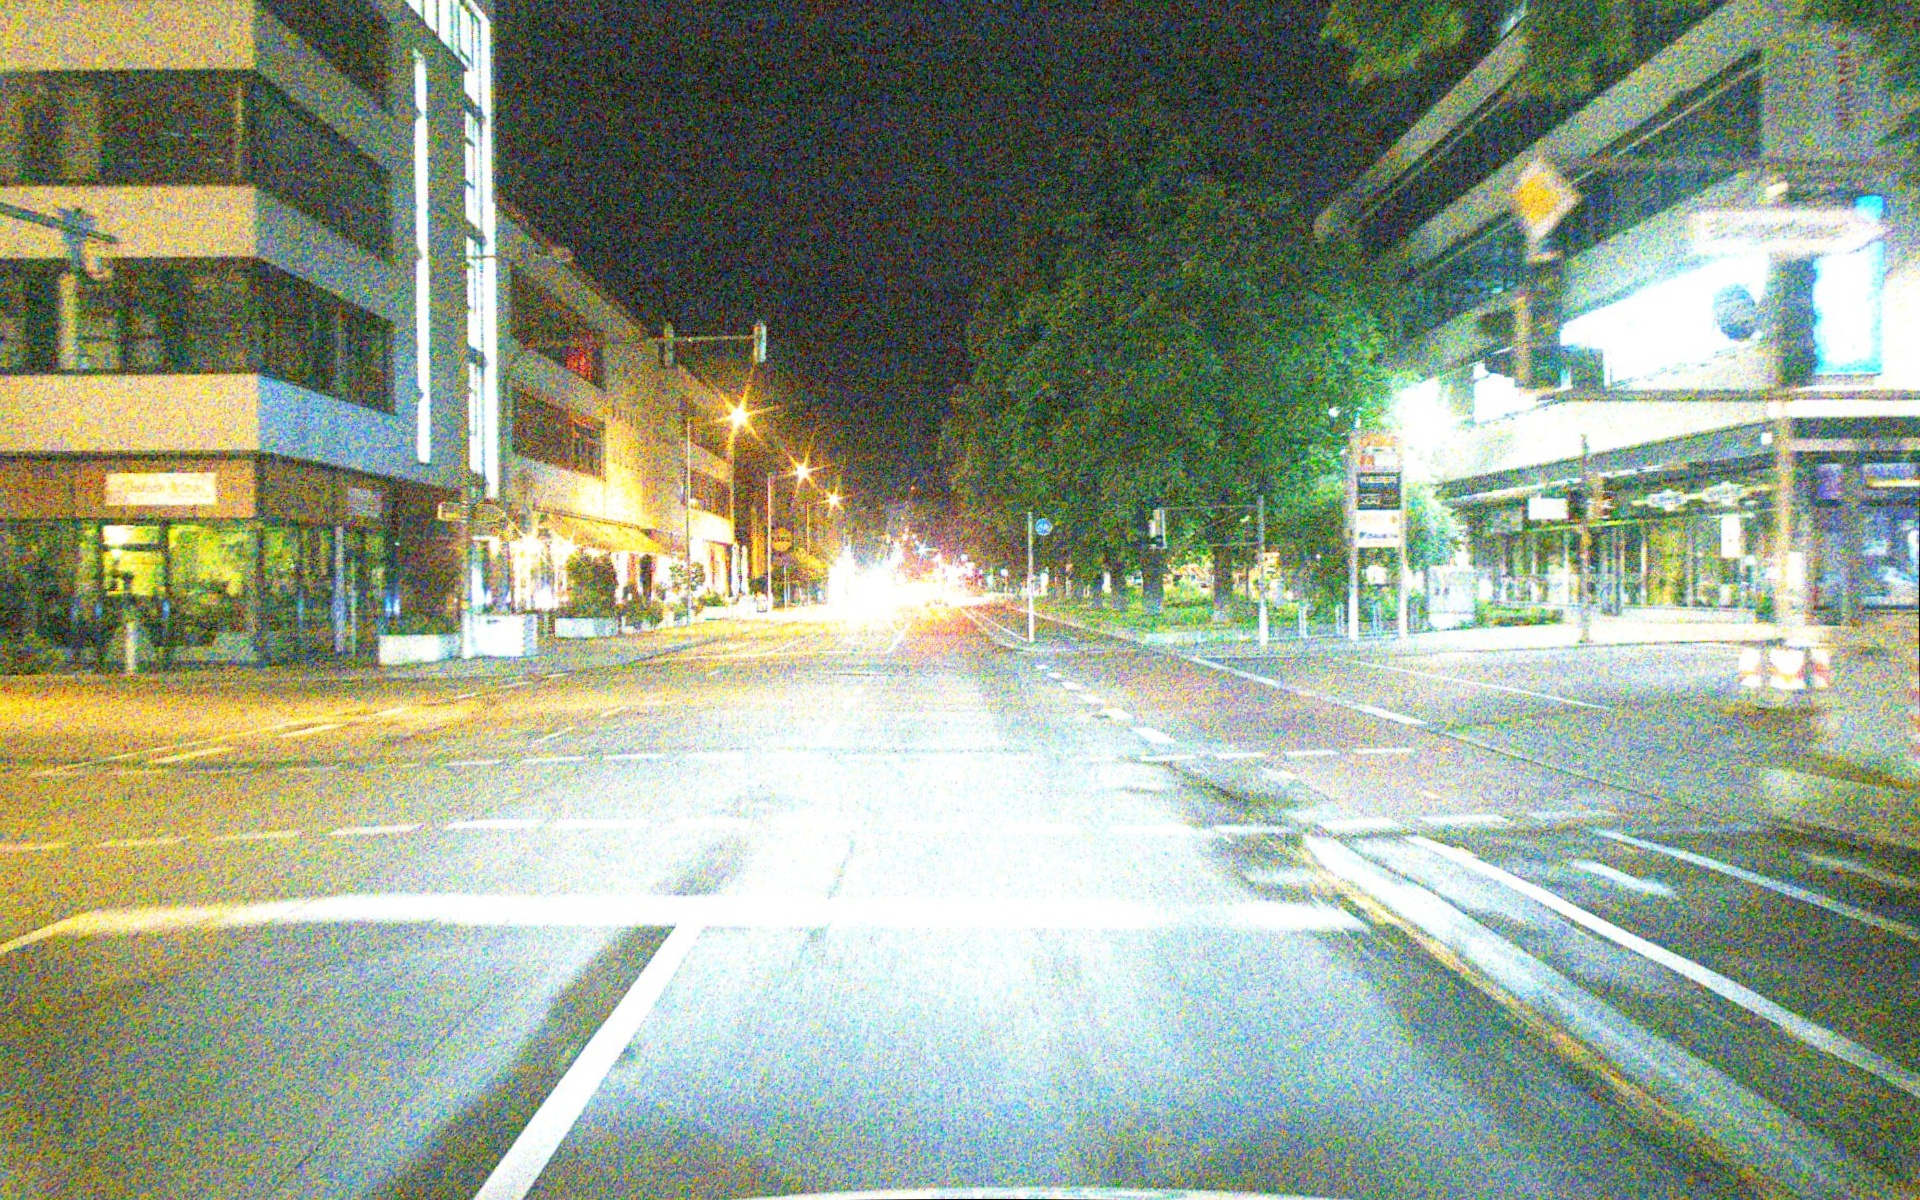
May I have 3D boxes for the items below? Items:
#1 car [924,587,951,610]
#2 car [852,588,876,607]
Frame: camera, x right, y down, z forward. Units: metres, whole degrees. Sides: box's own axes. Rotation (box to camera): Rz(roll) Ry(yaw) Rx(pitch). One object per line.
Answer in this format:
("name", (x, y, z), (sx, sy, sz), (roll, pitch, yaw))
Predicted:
("car", (-1.757, -0.147, 128.218), (1.953, 1.672, 3.999), (-2, 0, -1))
("car", (-8.621, -0.255, 148.557), (1.953, 1.672, 3.999), (-2, 0, -2))
